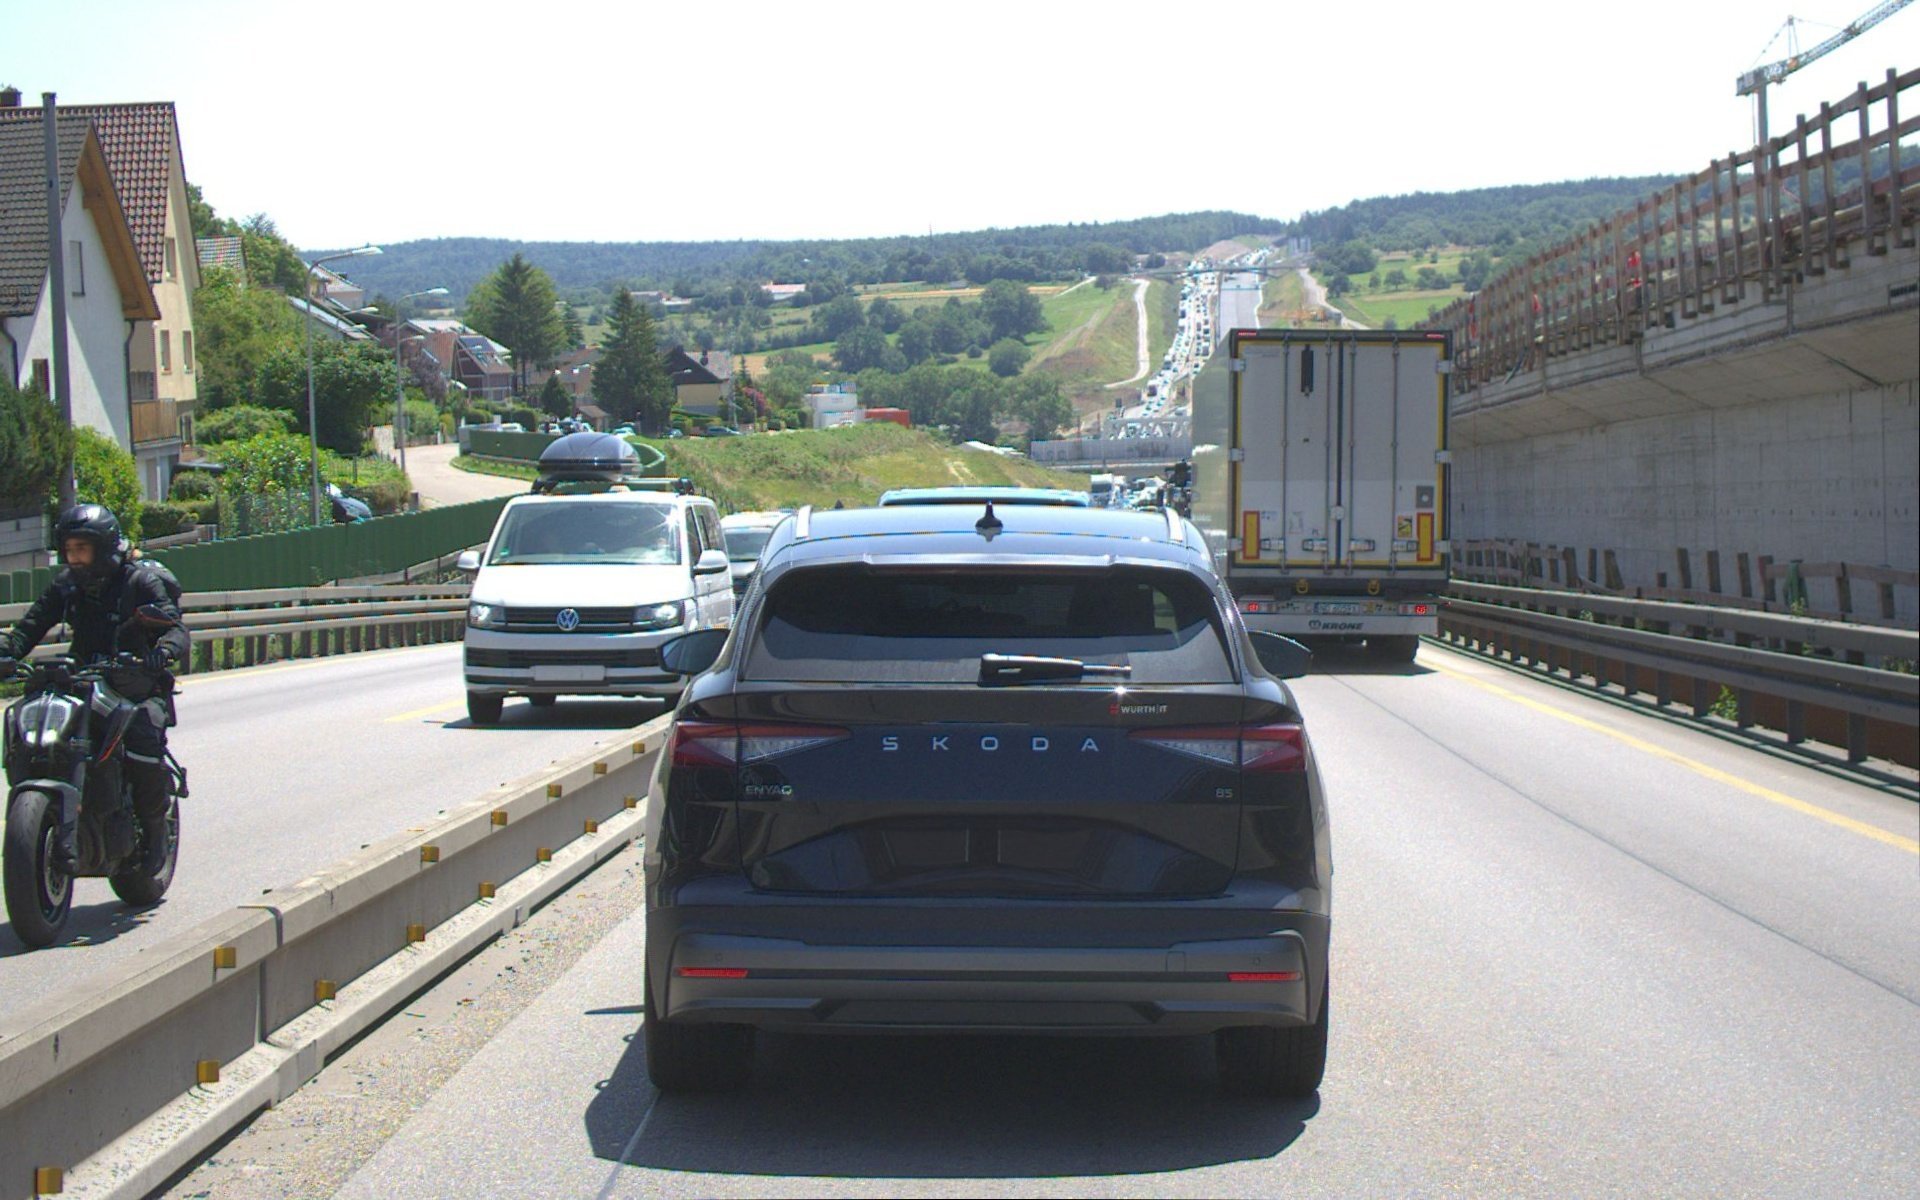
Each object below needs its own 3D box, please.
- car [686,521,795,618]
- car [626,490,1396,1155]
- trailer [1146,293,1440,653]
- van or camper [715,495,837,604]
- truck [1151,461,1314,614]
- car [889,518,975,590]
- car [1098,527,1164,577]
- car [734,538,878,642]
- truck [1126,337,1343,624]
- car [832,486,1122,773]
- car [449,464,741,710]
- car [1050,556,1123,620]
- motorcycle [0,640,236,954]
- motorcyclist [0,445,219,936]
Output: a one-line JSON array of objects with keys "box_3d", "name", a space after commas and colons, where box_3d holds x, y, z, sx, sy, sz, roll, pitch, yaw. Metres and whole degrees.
[{"box_3d": [-4.671, -0.637, 73.622, 1.993, 2.007, 4.000, 1, 0, 1], "name": "car"}, {"box_3d": [-0.031, 0.537, 10.198, 1.842, 1.581, 3.908, 1, 0, -5], "name": "car"}, {"box_3d": [4.153, -1.461, 45.388, 2.531, 4.113, 11.548, 1, 0, -1], "name": "trailer"}, {"box_3d": [-4.379, -1.166, 82.833, 2.354, 2.508, 6.327, 1, 0, 2], "name": "van or camper"}, {"box_3d": [6.018, -1.302, 77.906, 3.195, 3.180, 12.807, 0, 0, 2], "name": "truck"}, {"box_3d": [-0.617, -1.049, 79.846, 1.872, 1.581, 4.479, 1, 0, 1], "name": "car"}, {"box_3d": [5.711, -1.599, 115.134, 1.993, 1.579, 3.836, 1, 0, 0], "name": "car"}, {"box_3d": [-2.313, -0.145, 52.696, 1.993, 1.499, 4.649, 1, 0, 0], "name": "car"}, {"box_3d": [4.064, -1.683, 52.506, 2.513, 4.011, 8.238, 1, 0, -1], "name": "truck"}, {"box_3d": [0.037, 0.144, 24.594, 1.706, 1.875, 4.001, 1, 1, -5], "name": "car"}, {"box_3d": [-3.084, -0.104, 30.033, 2.022, 1.954, 4.899, 1, 0, 0], "name": "car"}, {"box_3d": [3.359, -0.341, 91.782, 1.707, 1.616, 4.001, 1, 1, -1], "name": "car"}, {"box_3d": [-3.443, 0.730, 13.512, 0.786, 1.076, 1.912, 1, 1, 0], "name": "motorcycle"}, {"box_3d": [-3.444, 0.331, 13.480, 0.853, 1.848, 0.984, 1, 1, 0], "name": "motorcyclist"}]
